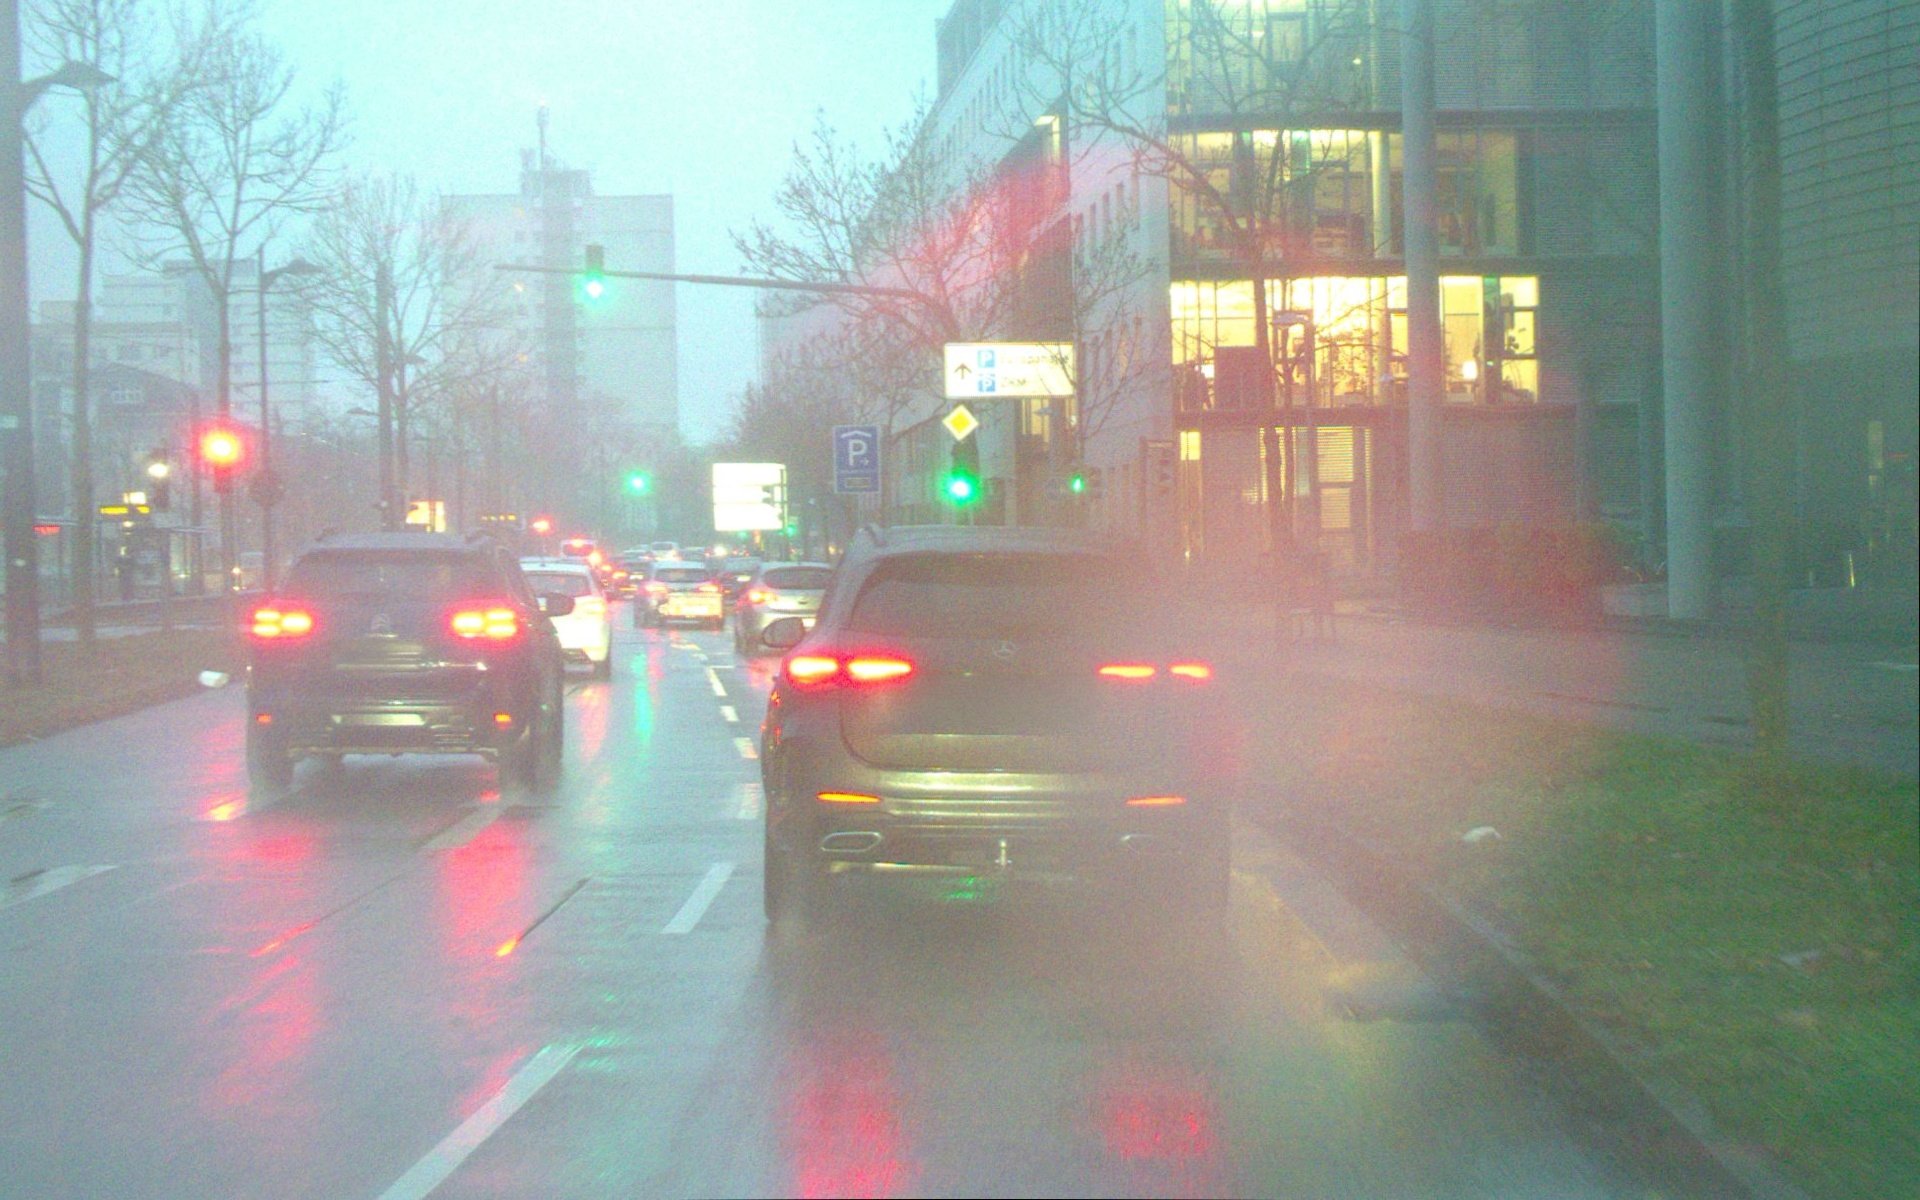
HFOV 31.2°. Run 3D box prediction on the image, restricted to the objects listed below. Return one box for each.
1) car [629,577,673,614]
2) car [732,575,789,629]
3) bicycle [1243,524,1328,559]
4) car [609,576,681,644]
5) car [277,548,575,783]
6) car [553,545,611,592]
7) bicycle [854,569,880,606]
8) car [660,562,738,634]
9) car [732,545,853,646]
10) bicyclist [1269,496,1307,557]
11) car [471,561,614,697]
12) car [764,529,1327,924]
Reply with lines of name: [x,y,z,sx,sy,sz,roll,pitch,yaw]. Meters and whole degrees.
car: [-10.863,-0.167,121.129,1.381,1.243,2.757,1,1,-2]
car: [-6.035,0.052,104.330,1.615,1.566,3.351,1,1,-2]
bicycle: [7.087,-1.274,74.901,1.731,0.743,0.650,1,1,29]
car: [-7.353,0.223,80.332,1.614,1.516,3.409,1,1,-5]
car: [-3.564,0.383,23.373,1.817,1.445,4.001,1,1,-7]
car: [-14.188,-1.204,129.049,1.993,1.709,3.423,1,1,-4]
bicycle: [-2.525,-0.345,93.297,0.544,0.962,1.346,1,1,-8]
car: [-5.673,-0.053,74.581,1.623,1.493,3.527,1,1,-5]
car: [-2.668,-0.093,55.111,1.867,1.537,3.611,1,1,-2]
bicyclist: [7.143,-1.598,74.868,0.622,1.325,0.565,1,1,28]
car: [-5.281,0.336,43.789,1.689,1.630,3.474,1,1,-5]
car: [0.228,0.468,14.890,1.993,1.478,3.701,1,0,-5]
